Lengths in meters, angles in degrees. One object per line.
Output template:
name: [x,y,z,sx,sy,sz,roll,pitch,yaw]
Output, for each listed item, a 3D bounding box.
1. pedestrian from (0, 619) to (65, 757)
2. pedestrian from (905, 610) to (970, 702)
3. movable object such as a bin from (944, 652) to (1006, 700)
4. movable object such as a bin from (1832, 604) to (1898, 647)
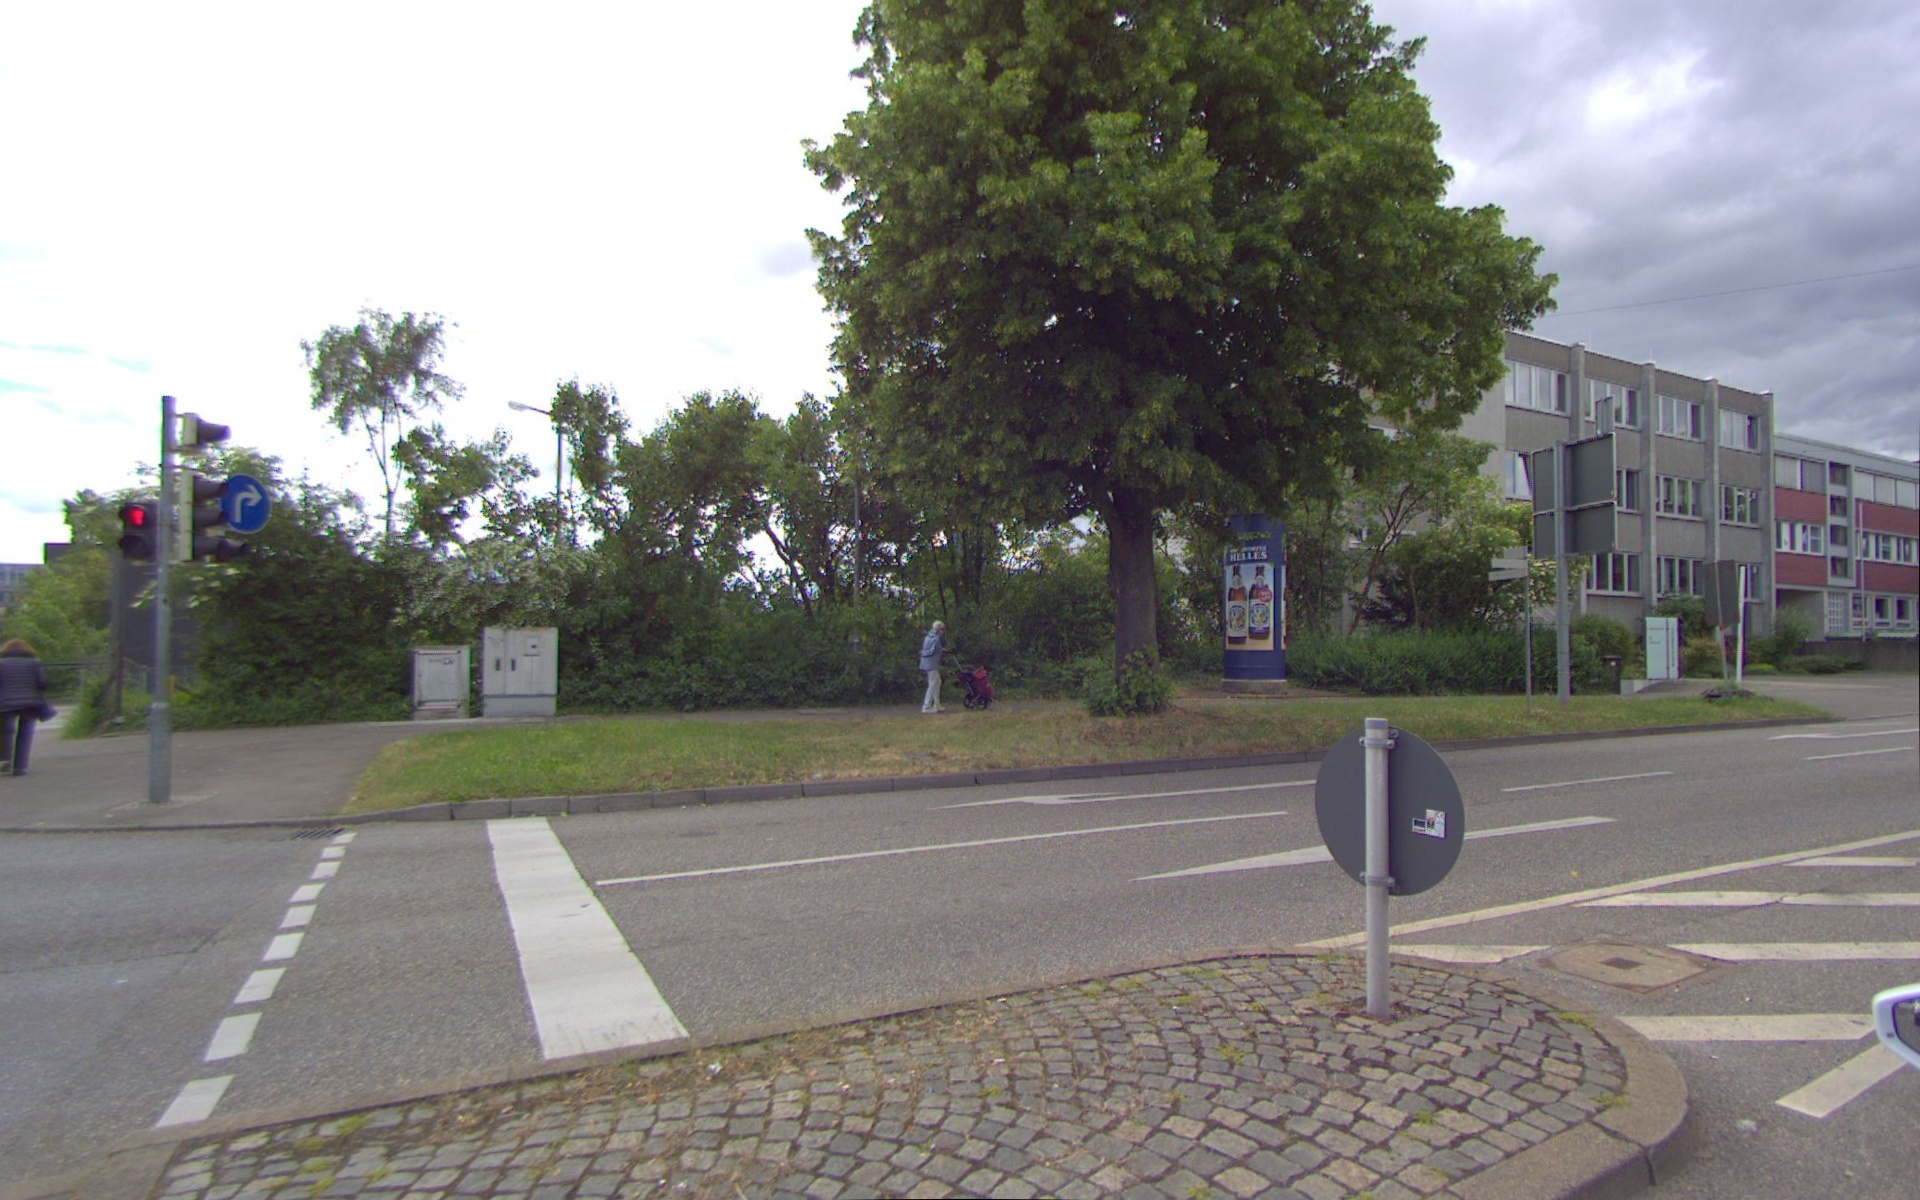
pedestrian: [-10.362,0.952,11.148,0.596,1.426,0.766,2,1,-41]
pedestrian: [-0.394,0.964,17.499,0.913,1.542,0.652,2,-1,-32]
movable object such as a bin: [0.270,1.350,17.915,0.887,0.808,0.652,2,-2,-32]
movable object such as a bin: [43.331,1.226,48.114,1.524,2.040,1.984,1,-1,-30]
